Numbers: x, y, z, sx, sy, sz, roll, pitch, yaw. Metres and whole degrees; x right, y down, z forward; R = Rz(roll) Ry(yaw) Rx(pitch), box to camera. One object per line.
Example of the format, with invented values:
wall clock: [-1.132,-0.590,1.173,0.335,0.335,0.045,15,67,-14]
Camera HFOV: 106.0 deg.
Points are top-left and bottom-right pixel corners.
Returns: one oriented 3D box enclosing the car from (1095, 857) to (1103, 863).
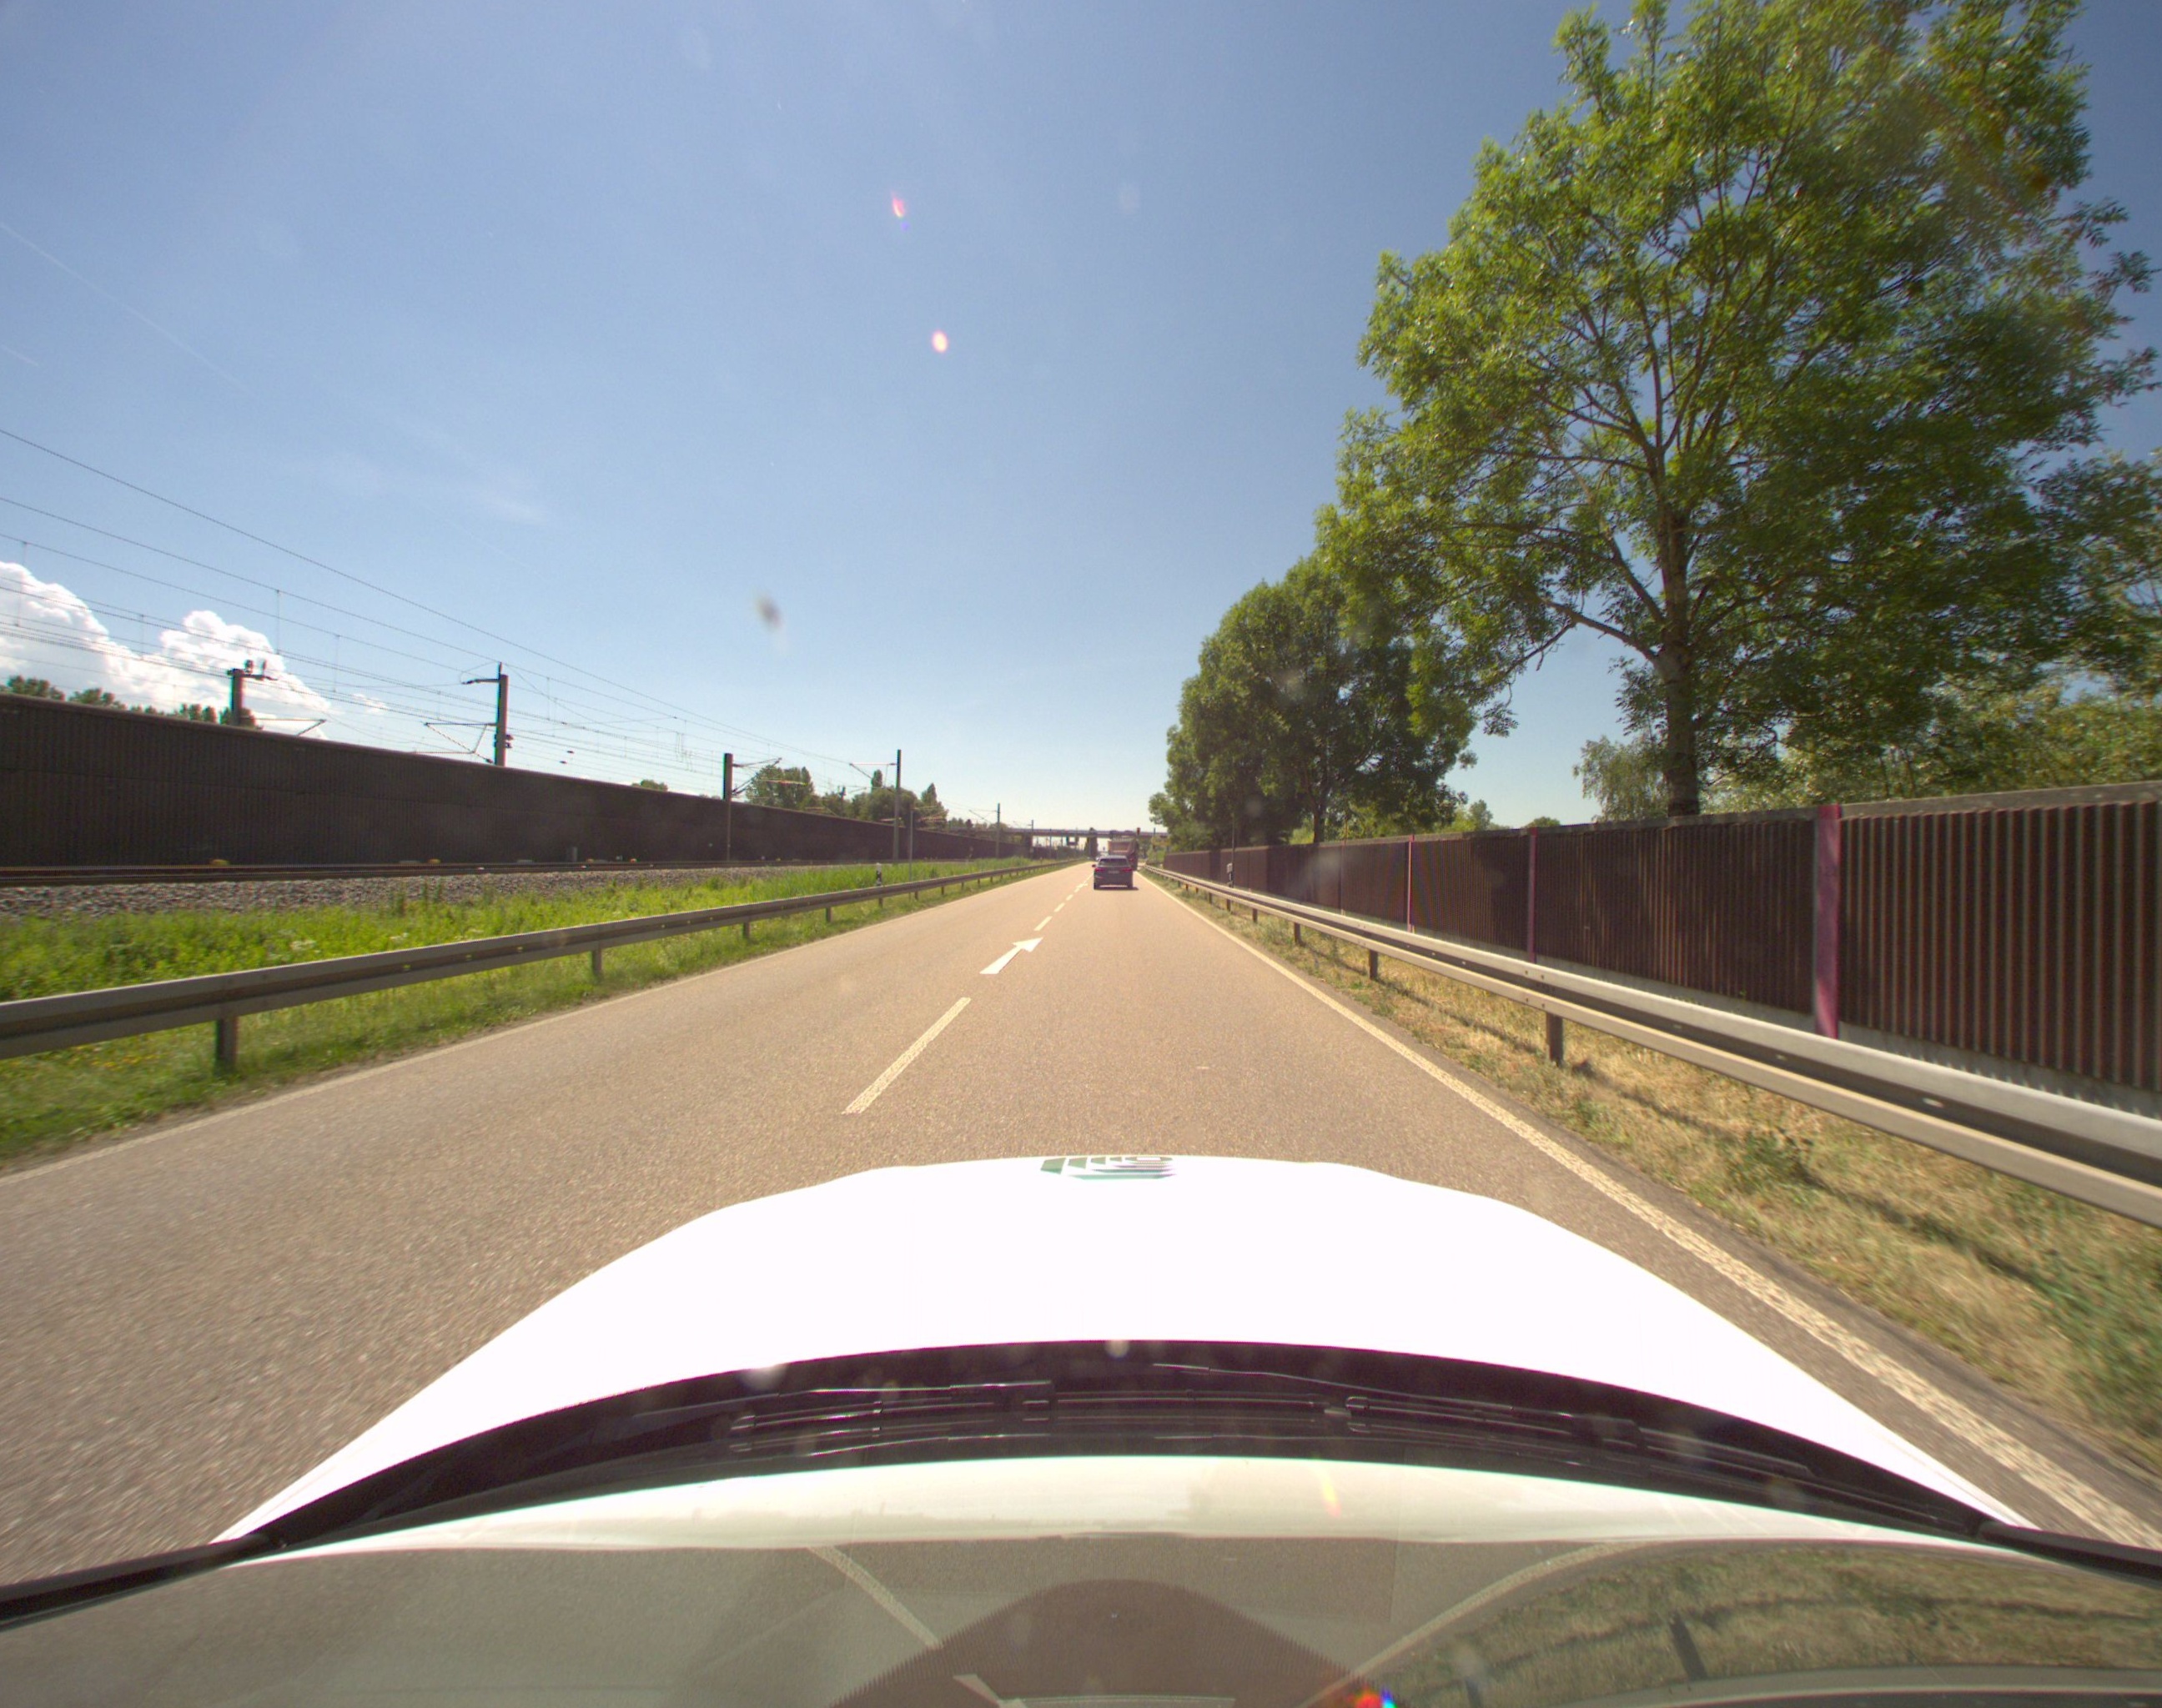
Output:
car: [4.729,1.522,217.464,1.859,1.485,4.885,0,0,-1]

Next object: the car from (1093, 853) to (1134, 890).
car: [1.563,0.773,38.403,1.837,1.623,4.229,0,0,3]

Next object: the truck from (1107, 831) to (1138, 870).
truck: [4.526,-0.307,87.111,2.820,3.821,11.900,0,0,5]
